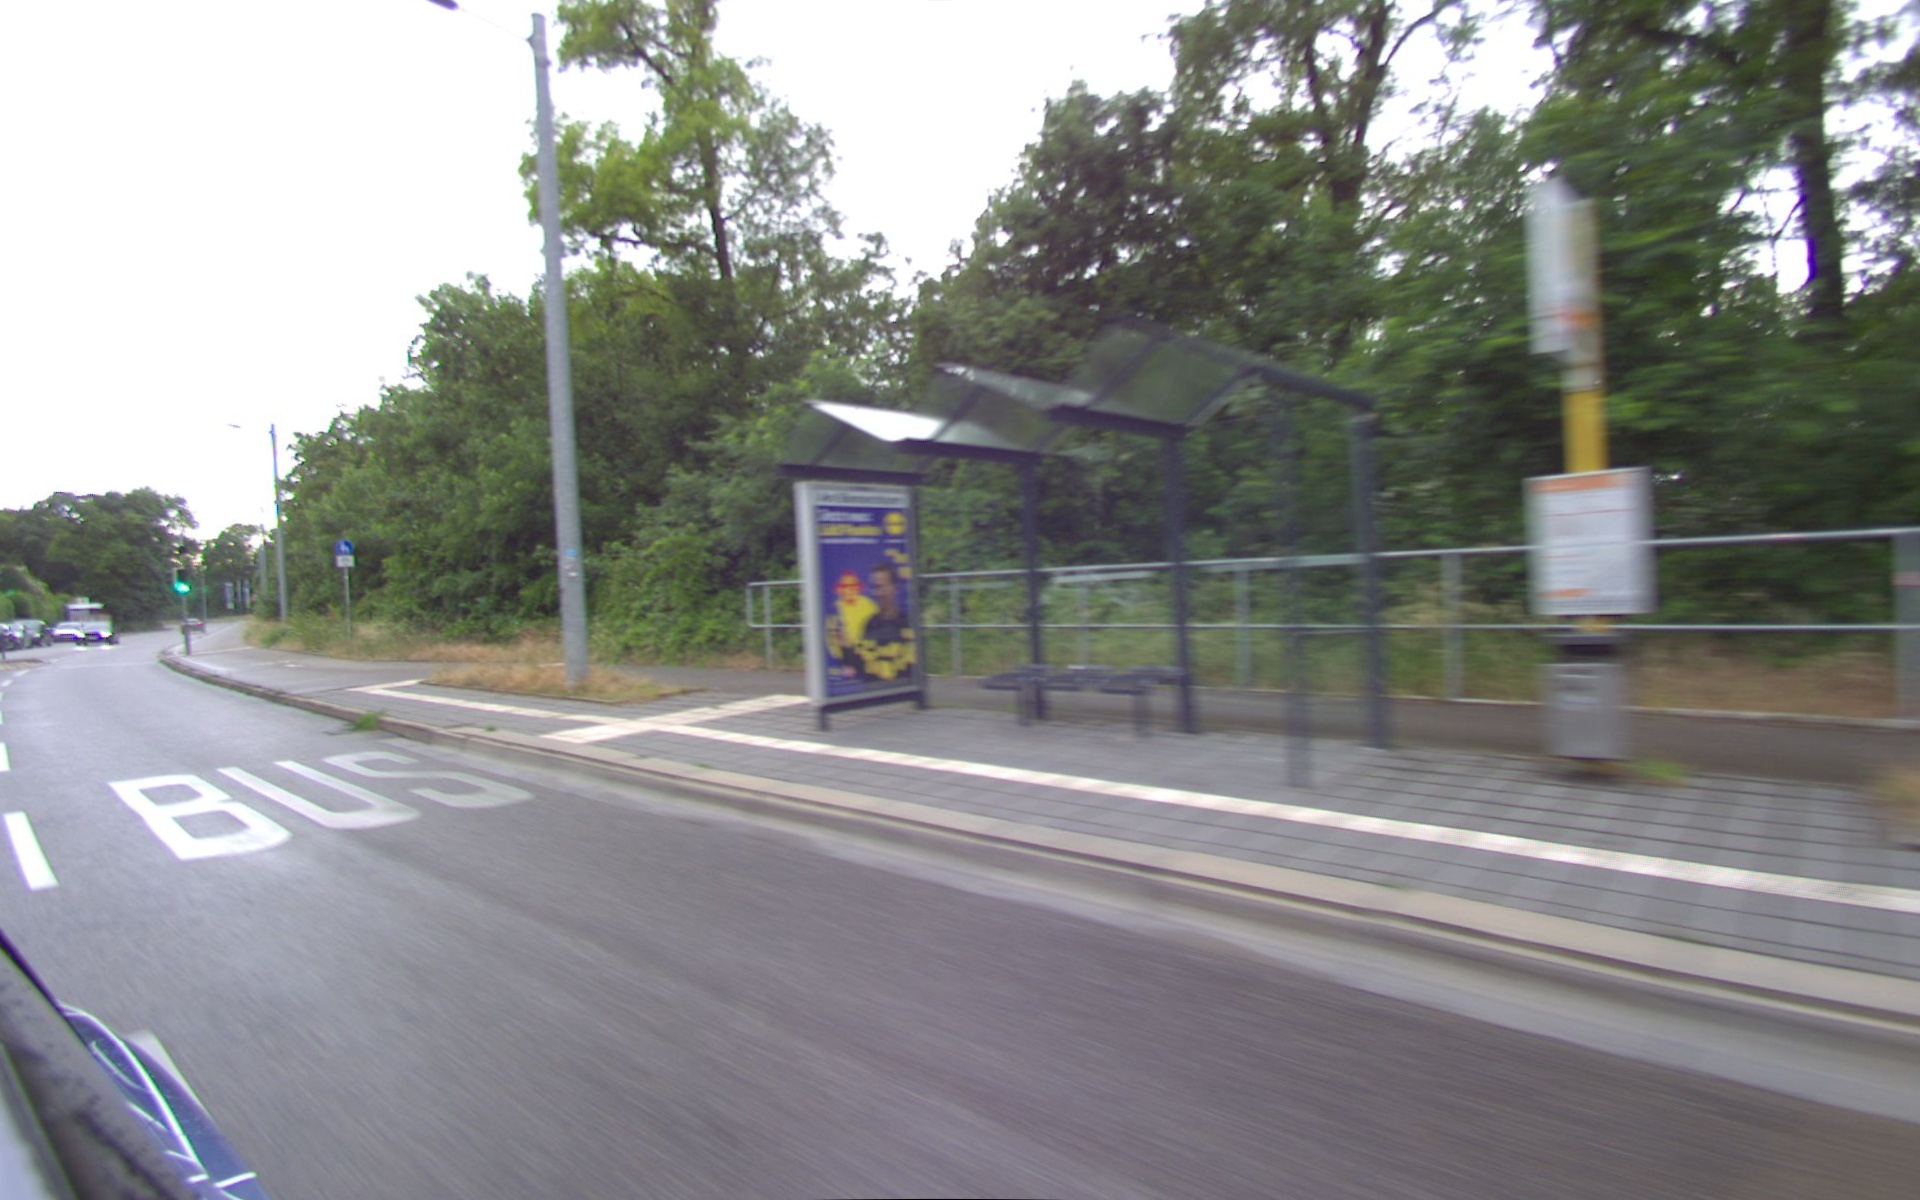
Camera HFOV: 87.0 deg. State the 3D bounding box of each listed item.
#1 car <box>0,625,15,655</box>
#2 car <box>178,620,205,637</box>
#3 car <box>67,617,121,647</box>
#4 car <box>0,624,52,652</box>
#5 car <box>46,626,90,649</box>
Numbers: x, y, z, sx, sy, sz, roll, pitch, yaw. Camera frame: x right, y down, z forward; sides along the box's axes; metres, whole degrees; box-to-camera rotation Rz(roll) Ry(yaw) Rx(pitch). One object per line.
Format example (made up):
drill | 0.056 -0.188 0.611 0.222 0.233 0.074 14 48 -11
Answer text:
car | -49.444 2.041 51.126 1.728 1.454 4.612 -2 1 -34
car | -71.015 2.638 93.571 1.720 1.471 4.426 -1 0 -34
car | -52.931 1.908 61.935 1.966 1.737 4.011 -1 0 -33
car | -56.186 2.271 60.914 1.707 1.580 4.533 -1 -1 -34
car | -65.327 2.722 74.157 1.788 1.408 4.114 -2 1 -33
